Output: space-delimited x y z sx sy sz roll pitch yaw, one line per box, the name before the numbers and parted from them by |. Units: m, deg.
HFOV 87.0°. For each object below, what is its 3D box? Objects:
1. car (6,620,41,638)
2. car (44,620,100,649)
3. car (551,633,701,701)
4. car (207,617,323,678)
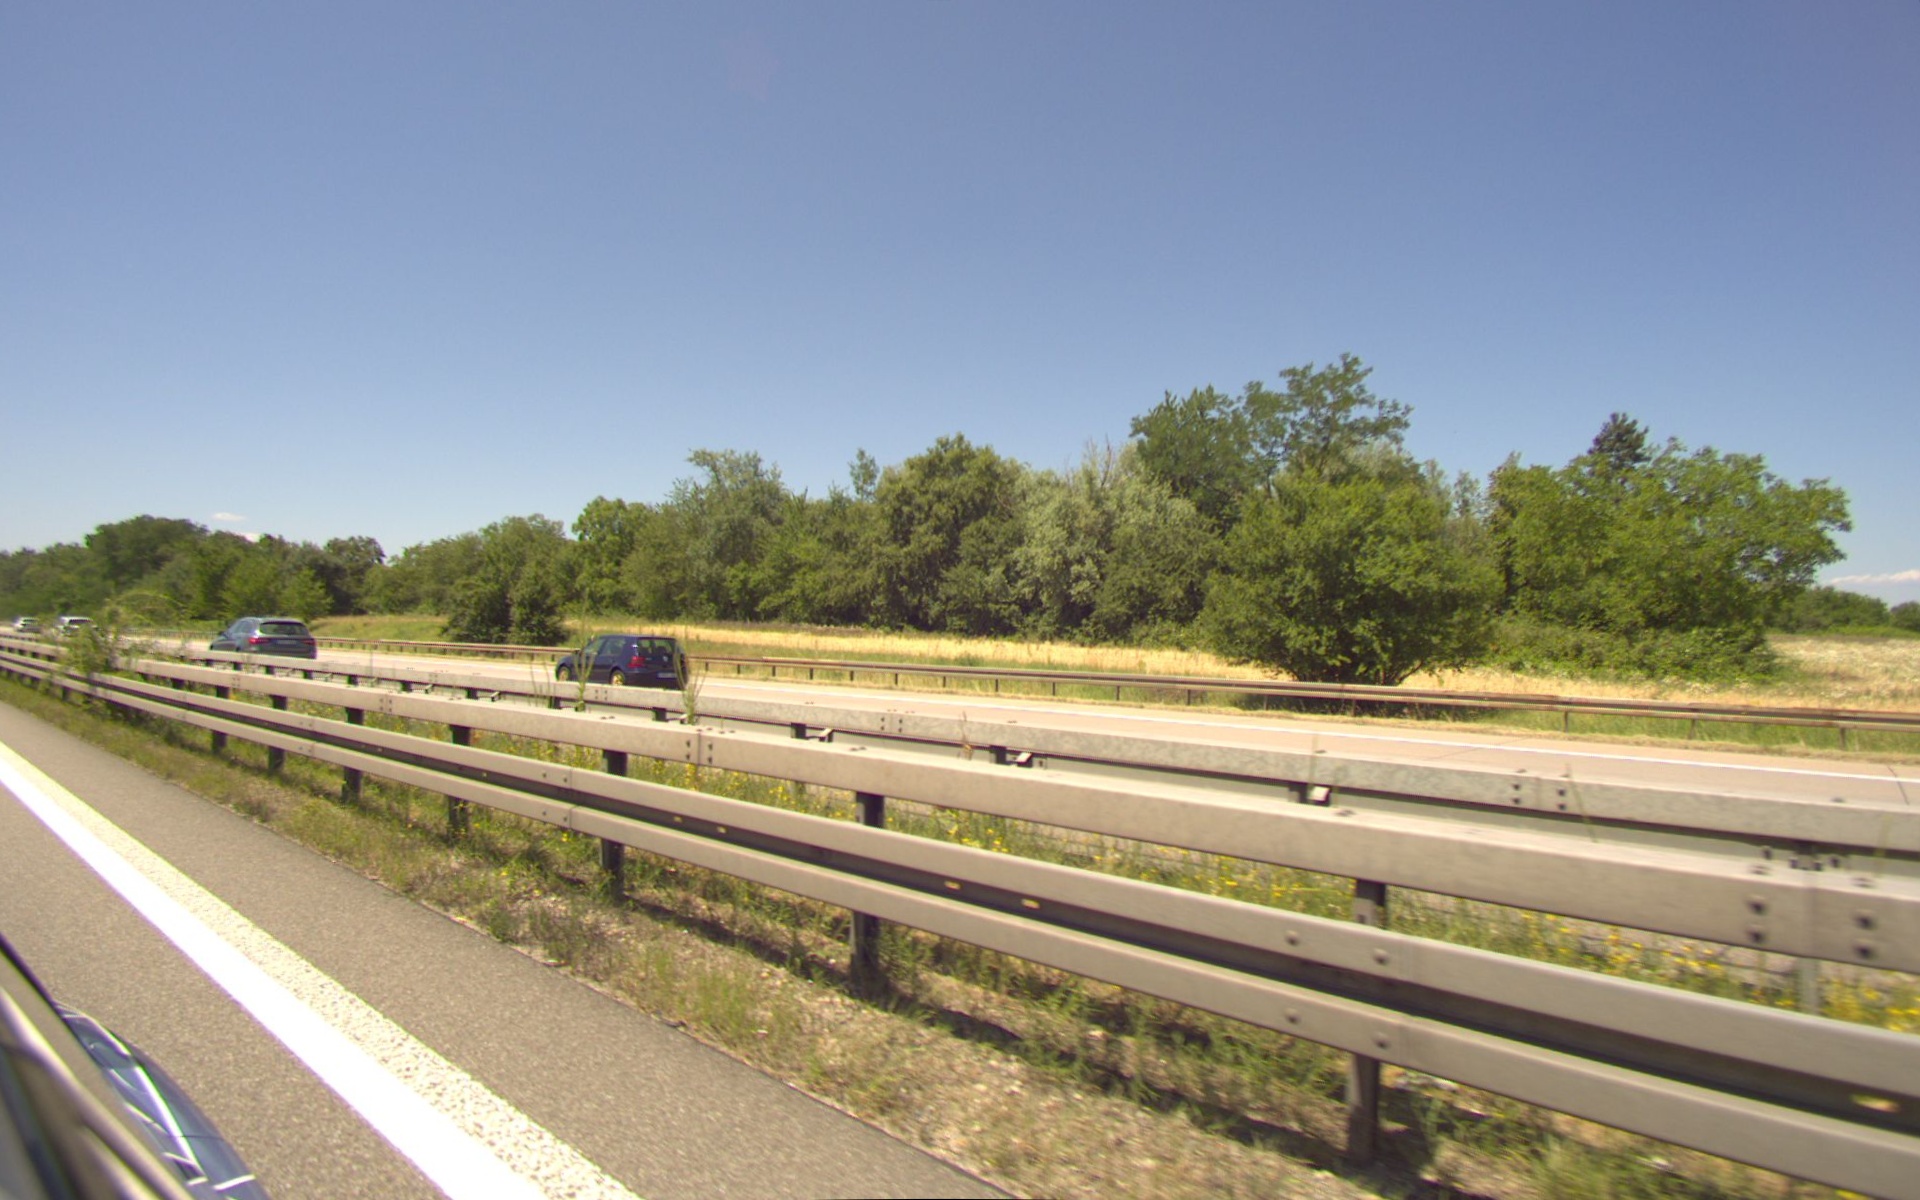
car | -85.236 2.659 92.123 4.190 1.578 1.859 -1 -3 41
car | -49.776 1.940 56.704 3.959 1.548 1.790 -1 -3 41
car | -7.962 1.540 24.006 3.675 1.462 1.715 -1 -4 41
car | -20.342 1.362 29.573 3.959 1.660 1.790 -1 -3 41
